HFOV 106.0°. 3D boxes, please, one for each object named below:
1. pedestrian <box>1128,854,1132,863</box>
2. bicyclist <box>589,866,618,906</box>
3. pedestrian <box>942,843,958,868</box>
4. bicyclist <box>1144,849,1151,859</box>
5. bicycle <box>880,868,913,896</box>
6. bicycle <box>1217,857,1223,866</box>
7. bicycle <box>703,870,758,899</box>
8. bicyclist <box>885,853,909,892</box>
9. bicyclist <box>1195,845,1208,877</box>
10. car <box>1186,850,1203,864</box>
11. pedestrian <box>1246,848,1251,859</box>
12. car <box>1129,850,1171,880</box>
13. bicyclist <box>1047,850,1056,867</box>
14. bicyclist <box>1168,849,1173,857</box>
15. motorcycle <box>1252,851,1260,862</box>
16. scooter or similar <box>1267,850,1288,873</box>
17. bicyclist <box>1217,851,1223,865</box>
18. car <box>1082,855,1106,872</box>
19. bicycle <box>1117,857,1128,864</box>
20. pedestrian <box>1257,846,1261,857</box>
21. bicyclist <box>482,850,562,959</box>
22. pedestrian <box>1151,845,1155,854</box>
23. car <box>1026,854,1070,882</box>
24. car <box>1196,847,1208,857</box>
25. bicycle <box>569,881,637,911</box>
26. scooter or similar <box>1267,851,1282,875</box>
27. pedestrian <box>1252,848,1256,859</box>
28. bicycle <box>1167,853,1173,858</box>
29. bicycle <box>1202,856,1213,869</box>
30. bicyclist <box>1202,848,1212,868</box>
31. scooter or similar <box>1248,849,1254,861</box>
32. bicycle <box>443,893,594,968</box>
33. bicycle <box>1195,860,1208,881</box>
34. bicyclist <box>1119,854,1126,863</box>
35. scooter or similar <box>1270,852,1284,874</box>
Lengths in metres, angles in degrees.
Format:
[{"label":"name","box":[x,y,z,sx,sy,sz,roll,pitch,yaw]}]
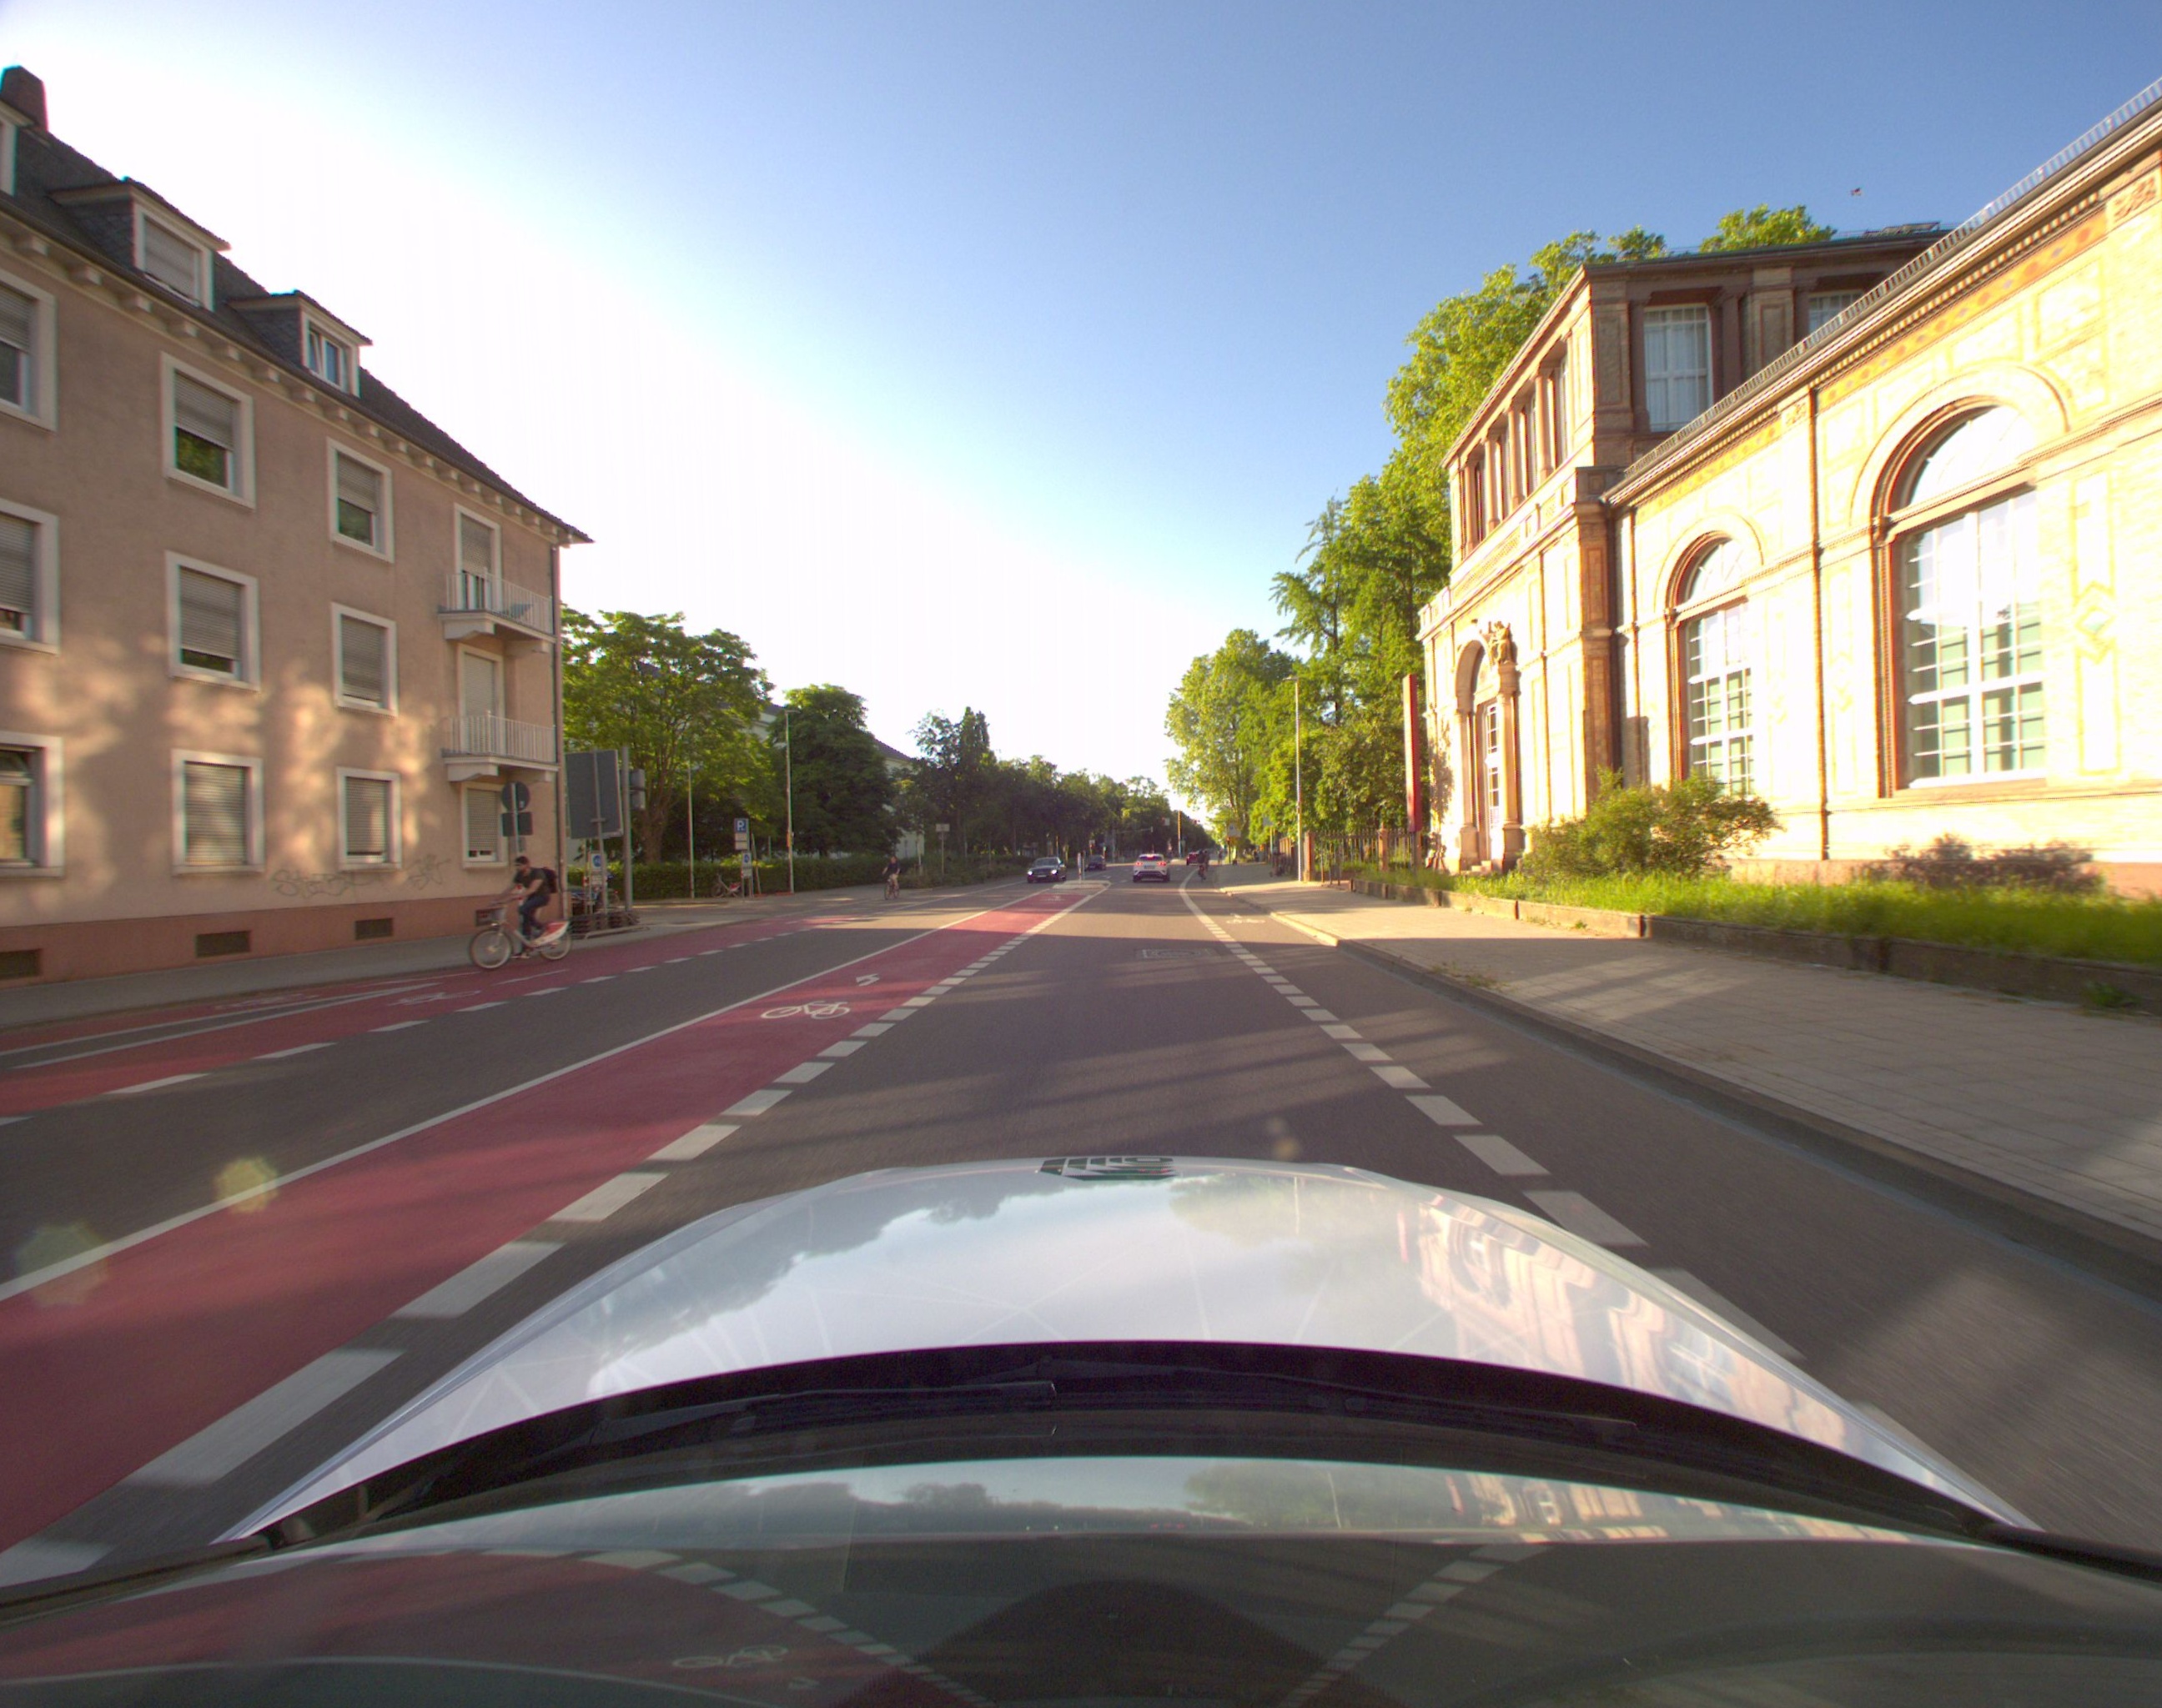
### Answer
[{"label":"pedestrian","box":[10.121,0.903,169.486,0.647,1.888,0.665,-2,0,12]},{"label":"bicyclist","box":[-18.595,1.229,31.731,0.662,1.485,0.738,-3,0,-7]},{"label":"pedestrian","box":[-10.070,0.113,62.765,0.851,1.851,1.003,-2,0,8]},{"label":"bicyclist","box":[11.806,0.059,144.389,1.085,1.754,1.101,-2,0,12]},{"label":"bicycle","box":[-7.269,1.091,32.230,0.648,0.995,2.111,-3,0,4]},{"label":"bicycle","box":[16.732,0.931,98.019,0.748,1.026,1.874,-1,-1,10]},{"label":"bicycle","box":[-15.807,1.362,36.751,2.306,1.230,0.561,-2,0,8]},{"label":"bicyclist","box":[-7.294,0.713,32.280,0.653,1.485,0.666,-5,0,4]},{"label":"bicyclist","box":[6.369,0.365,43.069,0.632,1.614,1.287,-1,0,10]},{"label":"car","box":[13.527,0.299,96.925,1.917,1.533,4.011,-2,0,10]},{"label":"pedestrian","box":[26.237,-0.074,127.617,0.478,1.792,0.434,-5,3,16]},{"label":"car","box":[3.756,0.572,43.842,1.982,1.453,4.009,-2,0,8]},{"label":"bicyclist","box":[-2.731,0.441,76.176,0.626,1.522,0.726,-5,0,7]},{"label":"bicyclist","box":[19.041,-0.174,173.543,0.949,1.705,1.236,-2,0,11]},{"label":"motorcycle","box":[19.307,0.231,89.927,0.658,1.167,2.334,-4,-1,10]},{"label":"scooter or similar","box":[10.752,0.405,44.544,0.547,1.243,1.553,-2,0,-8]},{"label":"bicyclist","box":[16.748,0.474,98.093,0.745,1.750,0.845,-1,0,9]},{"label":"car","box":[1.237,0.840,74.187,1.749,1.459,4.007,-2,0,6]},{"label":"bicycle","box":[6.876,1.099,135.329,1.752,0.990,0.514,-2,0,16]},{"label":"pedestrian","box":[28.167,-0.378,128.671,0.478,1.792,0.434,-5,3,16]},{"label":"bicyclist","box":[-9.276,0.821,13.539,0.631,1.710,0.741,-5,0,13]},{"label":"pedestrian","box":[16.687,-0.958,188.728,0.653,2.013,0.834,-2,0,8]},{"label":"car","box":[-1.844,0.763,46.865,1.802,1.419,4.562,-2,0,6]},{"label":"car","box":[19.662,-0.357,132.127,1.726,1.546,4.012,-2,0,10]},{"label":"bicycle","box":[-18.602,1.622,31.728,2.100,0.995,0.738,-3,0,-7]},{"label":"scooter or similar","box":[9.896,0.462,41.663,0.296,1.240,1.158,-2,0,-6]},{"label":"pedestrian","box":[27.166,-0.137,127.695,0.478,1.640,0.434,-5,2,16]},{"label":"bicycle","box":[19.049,0.313,173.550,0.957,1.181,2.961,-2,0,12]},{"label":"bicycle","box":[9.975,0.673,64.185,0.748,1.026,1.874,-1,-1,10]},{"label":"bicyclist","box":[9.947,0.305,64.149,0.743,1.537,0.972,-1,0,9]},{"label":"scooter or similar","box":[20.201,0.166,96.667,0.563,1.382,1.861,-2,0,9]},{"label":"bicycle","box":[-9.241,1.223,13.507,0.641,0.995,2.118,-3,0,15]},{"label":"bicycle","box":[6.392,0.868,43.140,0.639,1.024,2.218,0,0,9]},{"label":"bicyclist","box":[6.891,0.737,135.325,0.915,1.509,0.508,-2,0,17]},{"label":"scooter or similar","box":[10.285,0.473,42.680,0.478,1.122,1.338,-3,0,6]}]
